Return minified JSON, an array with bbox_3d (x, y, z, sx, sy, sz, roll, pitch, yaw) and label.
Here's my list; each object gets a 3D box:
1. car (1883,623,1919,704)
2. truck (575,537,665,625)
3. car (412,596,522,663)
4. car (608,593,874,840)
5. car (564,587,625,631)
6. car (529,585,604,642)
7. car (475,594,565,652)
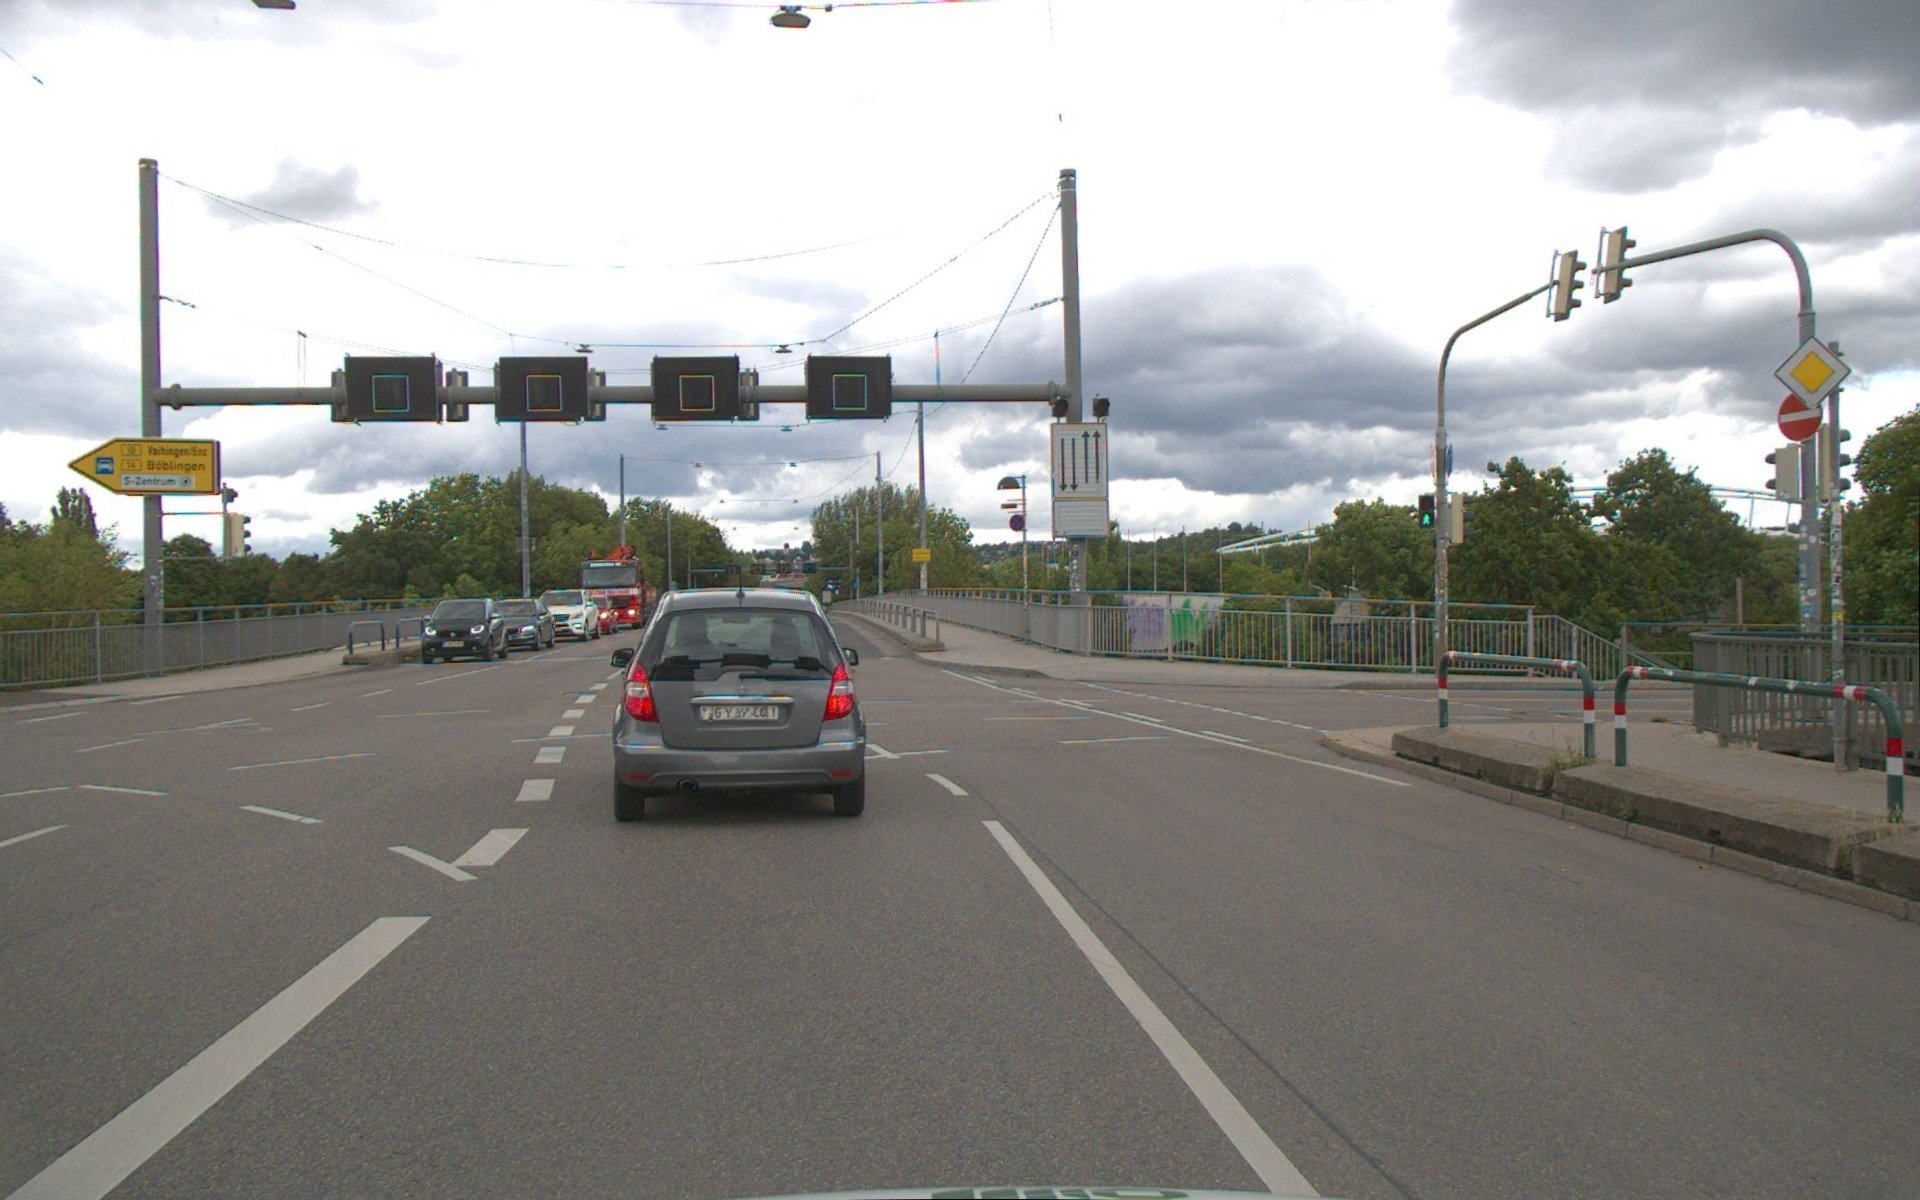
[{"bbox_3d":[19.076,1.168,29.862,4.063,1.445,1.692,1,-1,-9],"label":"car"},{"bbox_3d":[-15.430,-0.850,75.700,2.948,3.628,9.969,-2,0,-6],"label":"truck"},{"bbox_3d":[-12.440,0.699,41.967,1.799,1.530,3.868,-2,0,-4],"label":"car"},{"bbox_3d":[-1.621,0.743,12.687,1.712,1.577,3.866,0,0,-6],"label":"car"},{"bbox_3d":[-14.308,0.327,64.959,1.844,1.631,4.010,-2,0,-6],"label":"car"},{"bbox_3d":[-13.401,0.414,56.579,1.844,1.792,4.796,-2,0,-6],"label":"car"},{"bbox_3d":[-12.789,0.628,48.316,1.800,1.530,4.511,-2,1,-6],"label":"car"}]
